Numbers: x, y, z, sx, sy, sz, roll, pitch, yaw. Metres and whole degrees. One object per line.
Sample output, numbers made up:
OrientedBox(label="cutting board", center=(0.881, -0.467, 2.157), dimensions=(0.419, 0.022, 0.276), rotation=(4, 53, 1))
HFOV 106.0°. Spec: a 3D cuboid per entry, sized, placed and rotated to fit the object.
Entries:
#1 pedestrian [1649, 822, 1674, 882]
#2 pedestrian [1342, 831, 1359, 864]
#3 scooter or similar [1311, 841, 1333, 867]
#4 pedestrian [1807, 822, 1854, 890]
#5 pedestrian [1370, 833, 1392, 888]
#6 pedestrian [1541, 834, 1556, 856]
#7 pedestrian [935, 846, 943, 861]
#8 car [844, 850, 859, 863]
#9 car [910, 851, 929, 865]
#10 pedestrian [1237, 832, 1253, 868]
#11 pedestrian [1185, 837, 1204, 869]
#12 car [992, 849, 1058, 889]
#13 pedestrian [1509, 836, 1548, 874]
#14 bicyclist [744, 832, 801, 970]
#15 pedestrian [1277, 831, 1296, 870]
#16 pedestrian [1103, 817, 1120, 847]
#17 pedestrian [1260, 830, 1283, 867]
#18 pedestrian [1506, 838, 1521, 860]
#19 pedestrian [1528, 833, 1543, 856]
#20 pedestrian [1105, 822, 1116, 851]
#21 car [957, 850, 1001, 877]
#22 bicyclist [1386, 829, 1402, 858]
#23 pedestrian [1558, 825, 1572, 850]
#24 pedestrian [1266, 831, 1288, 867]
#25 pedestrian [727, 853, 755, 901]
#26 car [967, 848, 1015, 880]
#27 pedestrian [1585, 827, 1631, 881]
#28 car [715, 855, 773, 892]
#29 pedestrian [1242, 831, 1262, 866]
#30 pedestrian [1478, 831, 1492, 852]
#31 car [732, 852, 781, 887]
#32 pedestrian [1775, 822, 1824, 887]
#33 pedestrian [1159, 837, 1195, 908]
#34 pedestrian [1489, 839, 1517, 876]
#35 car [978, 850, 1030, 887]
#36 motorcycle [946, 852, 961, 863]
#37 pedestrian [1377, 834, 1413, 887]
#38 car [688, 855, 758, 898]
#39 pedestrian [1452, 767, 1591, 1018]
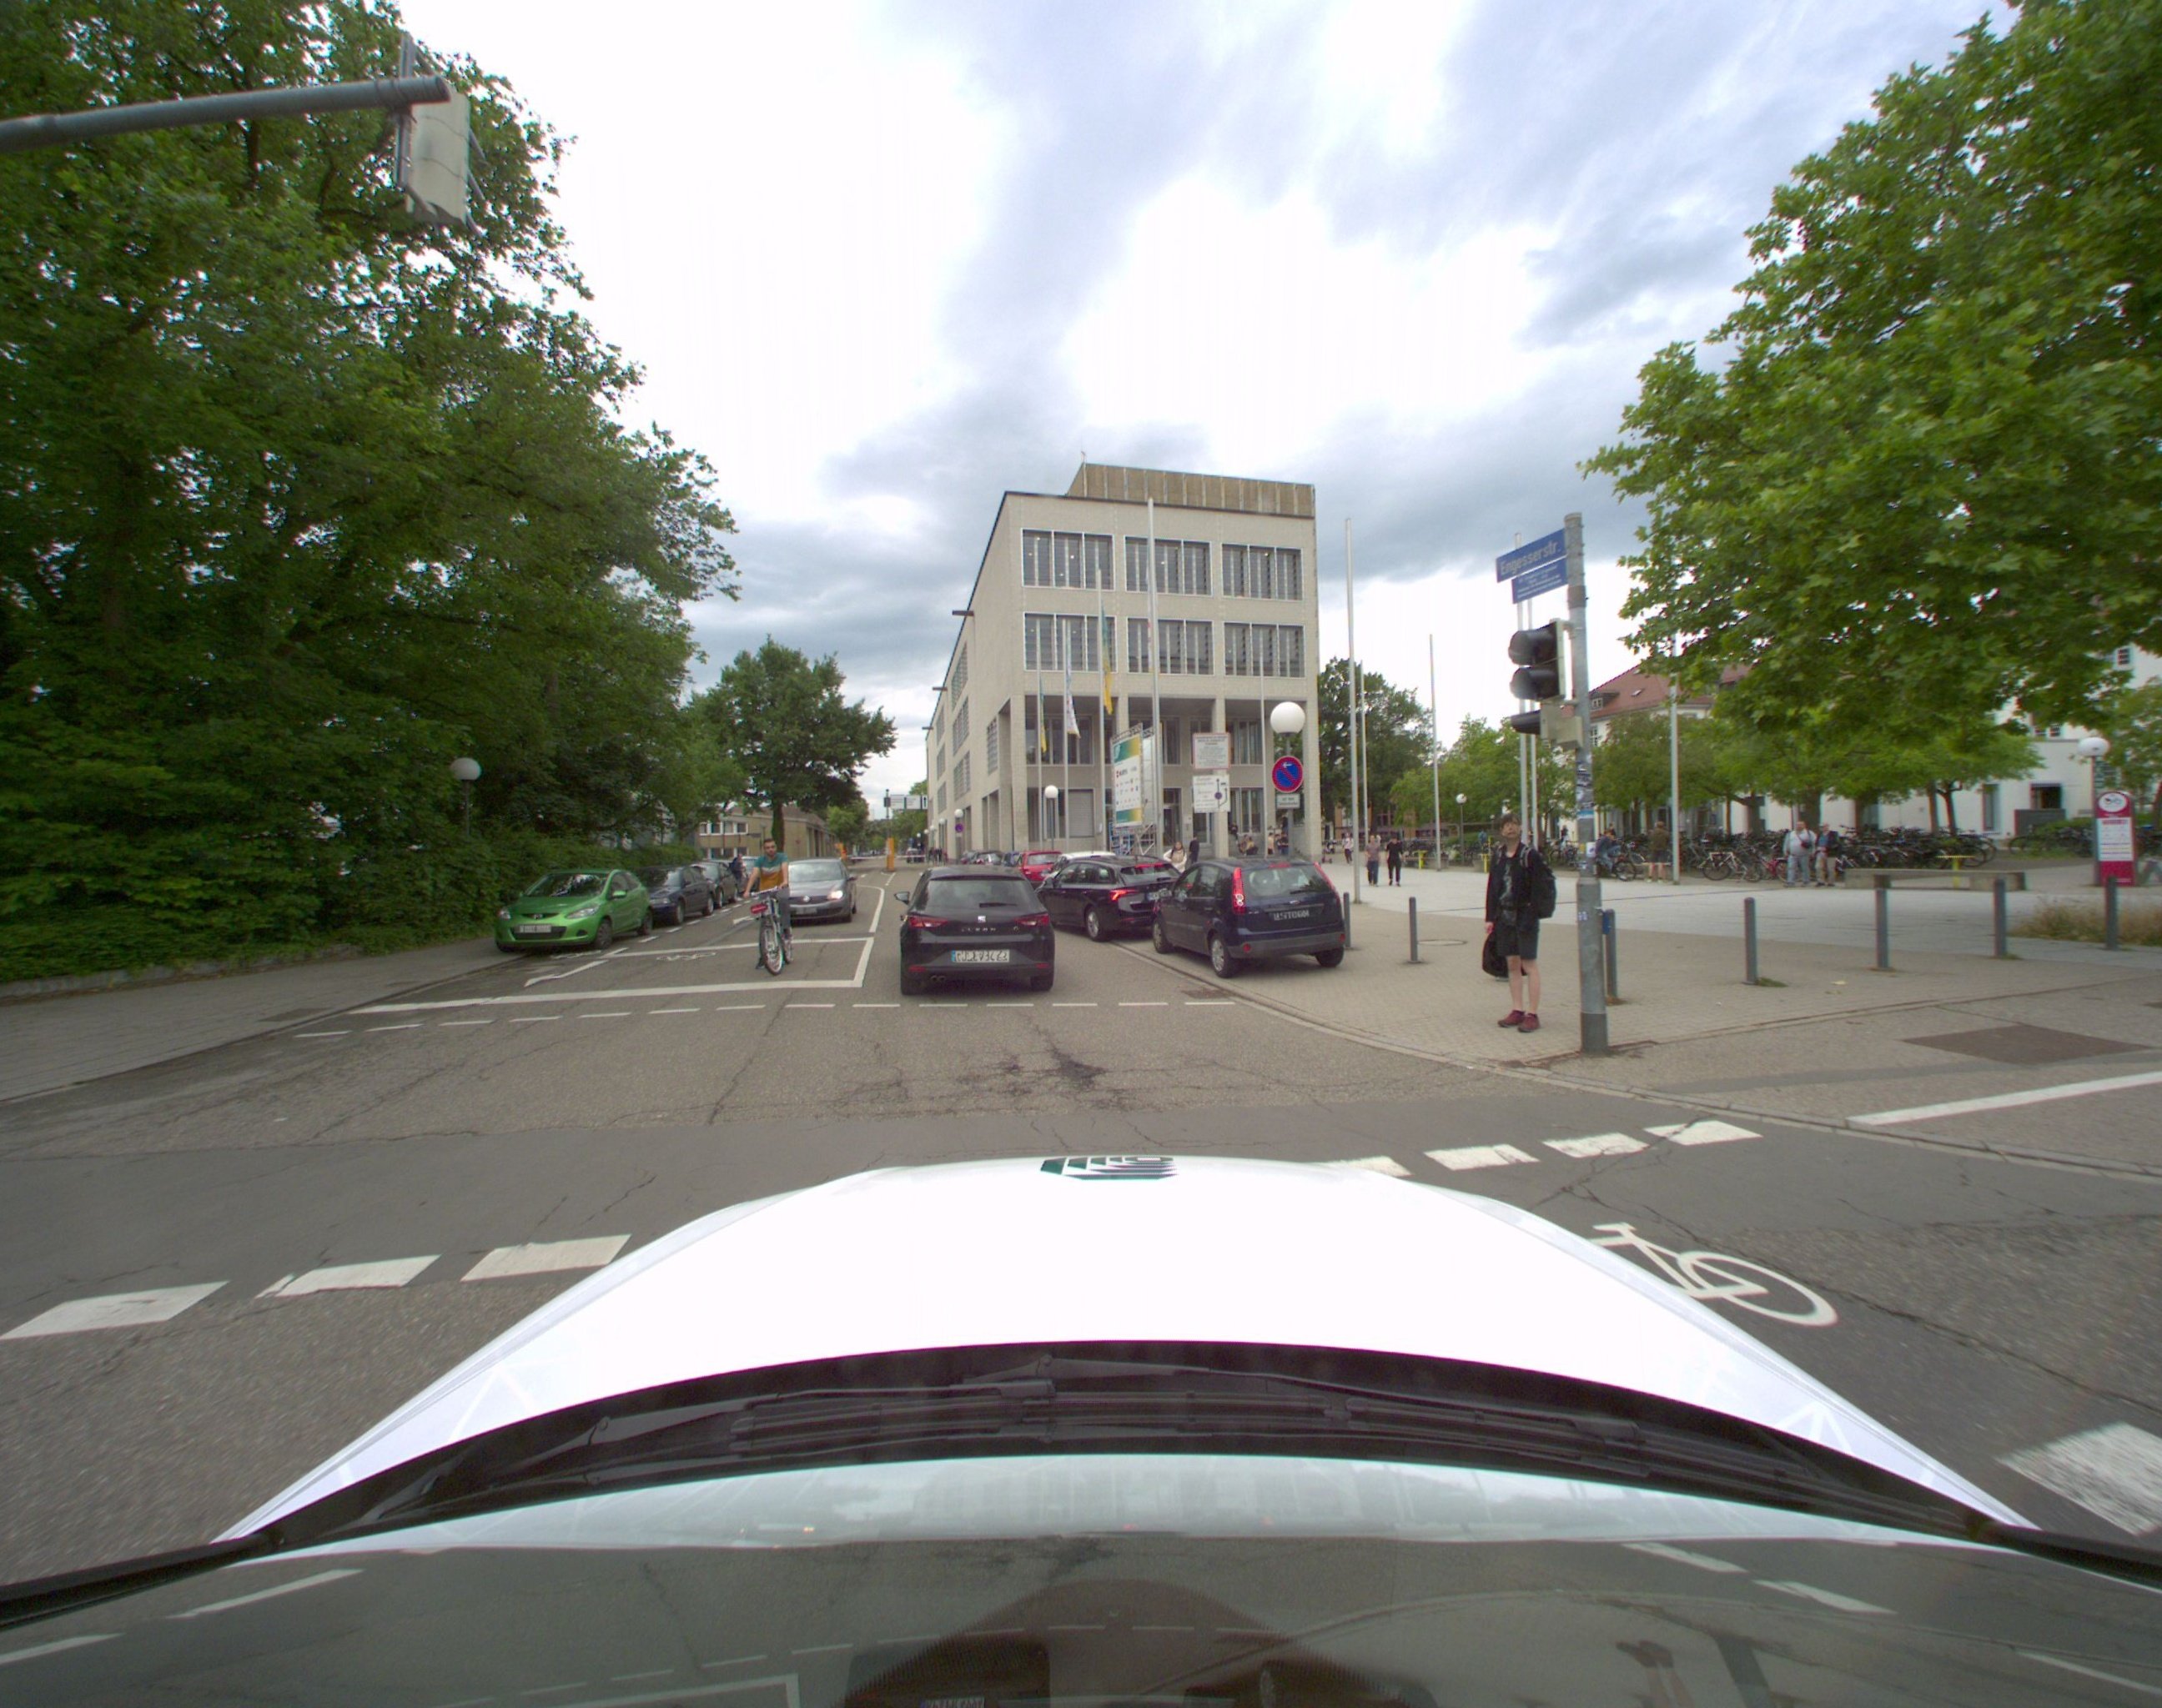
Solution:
OrientedBox(label="pedestrian", center=(17.872, -0.054, 25.090), dimensions=(0.505, 1.833, 0.677), rotation=(-1, 0, 27))
OrientedBox(label="pedestrian", center=(13.913, -0.335, 42.082), dimensions=(0.728, 1.640, 0.937), rotation=(1, 2, 22))
OrientedBox(label="scooter or similar", center=(13.257, 0.002, 44.821), dimensions=(1.500, 1.369, 0.401), rotation=(-1, 3, -41))
OrientedBox(label="pedestrian", center=(19.414, 0.048, 21.102), dimensions=(0.583, 1.715, 0.656), rotation=(-1, 0, -7))
OrientedBox(label="pedestrian", center=(10.016, 0.209, 27.191), dimensions=(0.636, 1.807, 0.651), rotation=(1, 2, 20))
OrientedBox(label="pedestrian", center=(34.079, -0.656, 59.393), dimensions=(0.661, 1.641, 0.663), rotation=(-1, 0, -15))
OrientedBox(label="pedestrian", center=(-16.180, -0.089, 92.783), dimensions=(0.730, 1.698, 0.584), rotation=(0, 2, -19))
OrientedBox(label="car", center=(-30.921, 0.336, 109.691), dimensions=(1.773, 1.601, 3.981), rotation=(-1, 0, -14))
OrientedBox(label="car", center=(-19.857, 0.466, 100.096), dimensions=(1.996, 1.622, 4.407), rotation=(-2, 0, -14))
OrientedBox(label="pedestrian", center=(8.425, -0.185, 41.924), dimensions=(0.591, 1.841, 0.617), rotation=(-1, -1, -12))
OrientedBox(label="pedestrian", center=(5.891, -0.057, 42.254), dimensions=(0.756, 1.669, 0.702), rotation=(-1, 0, -12))
OrientedBox(label="car", center=(-2.293, 0.564, 32.177), dimensions=(1.699, 1.411, 4.352), rotation=(-2, 0, -16))
OrientedBox(label="pedestrian", center=(17.021, 0.046, 30.967), dimensions=(0.853, 1.420, 0.961), rotation=(-1, 0, -24))
OrientedBox(label="bicyclist", center=(-4.217, 0.611, 11.165), dimensions=(0.659, 1.779, 0.977), rotation=(-1, 0, -21))
OrientedBox(label="pedestrian", center=(10.107, -0.163, 40.048), dimensions=(0.596, 1.865, 0.784), rotation=(-2, 0, 35))
OrientedBox(label="pedestrian", center=(1.707, -1.213, 45.592), dimensions=(0.799, 1.658, 0.633), rotation=(1, 2, 11))
OrientedBox(label="pedestrian", center=(9.282, -0.246, 39.727), dimensions=(0.766, 1.785, 0.730), rotation=(-1, 0, -27))
OrientedBox(label="pedestrian", center=(32.108, -0.380, 60.507), dimensions=(0.662, 1.641, 0.662), rotation=(-1, 0, -16))
OrientedBox(label="pedestrian", center=(33.727, -0.704, 60.484), dimensions=(0.661, 1.641, 0.690), rotation=(-1, 0, -15))
OrientedBox(label="pedestrian", center=(1.697, -1.003, 46.526), dimensions=(0.626, 1.658, 0.808), rotation=(1, 2, 3))
OrientedBox(label="car", center=(-6.014, 0.553, 47.567), dimensions=(1.996, 1.452, 4.900), rotation=(-1, 0, -13))
OrientedBox(label="bicyclist", center=(18.269, -0.615, 47.543), dimensions=(0.866, 1.641, 0.872), rotation=(0, 1, 20))
OrientedBox(label="pedestrian", center=(32.448, -1.092, 54.569), dimensions=(0.654, 1.641, 0.670), rotation=(-2, 0, 39))
OrientedBox(label="pedestrian", center=(9.890, -0.269, 41.059), dimensions=(0.723, 1.785, 0.730), rotation=(-1, 0, -27))
OrientedBox(label="pedestrian", center=(-12.178, 0.800, 29.191), dimensions=(0.739, 1.661, 0.964), rotation=(-2, 1, -13))
OrientedBox(label="car", center=(-4.695, 0.482, 41.909), dimensions=(1.820, 1.443, 4.499), rotation=(-3, 1, -14))
OrientedBox(label="pedestrian", center=(17.607, 0.017, 27.224), dimensions=(0.851, 1.705, 0.963), rotation=(2, -4, -18))
OrientedBox(label="car", center=(-14.616, 0.797, 35.495), dimensions=(1.766, 1.411, 3.989), rotation=(-1, 1, -15))
OrientedBox(label="pedestrian", center=(8.599, -0.280, 41.038), dimensions=(0.777, 1.715, 0.601), rotation=(-1, 0, -12))
OrientedBox(label="pedestrian", center=(30.995, -0.965, 62.536), dimensions=(0.661, 1.641, 0.663), rotation=(-2, 0, -15))
OrientedBox(label="car", center=(-15.977, 0.725, 40.308), dimensions=(1.718, 1.586, 3.859), rotation=(-1, 1, -14))
OrientedBox(label="pedestrian", center=(19.281, 0.010, 21.871), dimensions=(0.671, 1.715, 0.677), rotation=(-2, 0, -7))
OrientedBox(label="pedestrian", center=(2.492, 0.468, 21.145), dimensions=(0.789, 1.787, 0.821), rotation=(-1, 0, -1))
OrientedBox(label="pedestrian", center=(16.508, 0.131, 31.841), dimensions=(0.677, 1.413, 0.760), rotation=(-1, -1, -45))
OrientedBox(label="car", center=(-3.583, 0.597, 37.169), dimensions=(1.850, 1.442, 4.401), rotation=(-1, 2, -12))
OrientedBox(label="motorcycle", center=(-14.410, 0.422, 92.339), dimensions=(0.754, 1.148, 2.672), rotation=(1, 2, 11))
OrientedBox(label="pedestrian", center=(10.496, 0.202, 27.211), dimensions=(0.698, 1.712, 0.898), rotation=(-4, 3, -44))
OrientedBox(label="car", center=(-13.624, 0.809, 31.211), dimensions=(1.764, 1.471, 3.807), rotation=(-1, 0, -13))
OrientedBox(label="pedestrian", center=(3.630, 0.306, 6.780), dimensions=(0.786, 1.952, 0.760), rotation=(-1, 0, 11))
